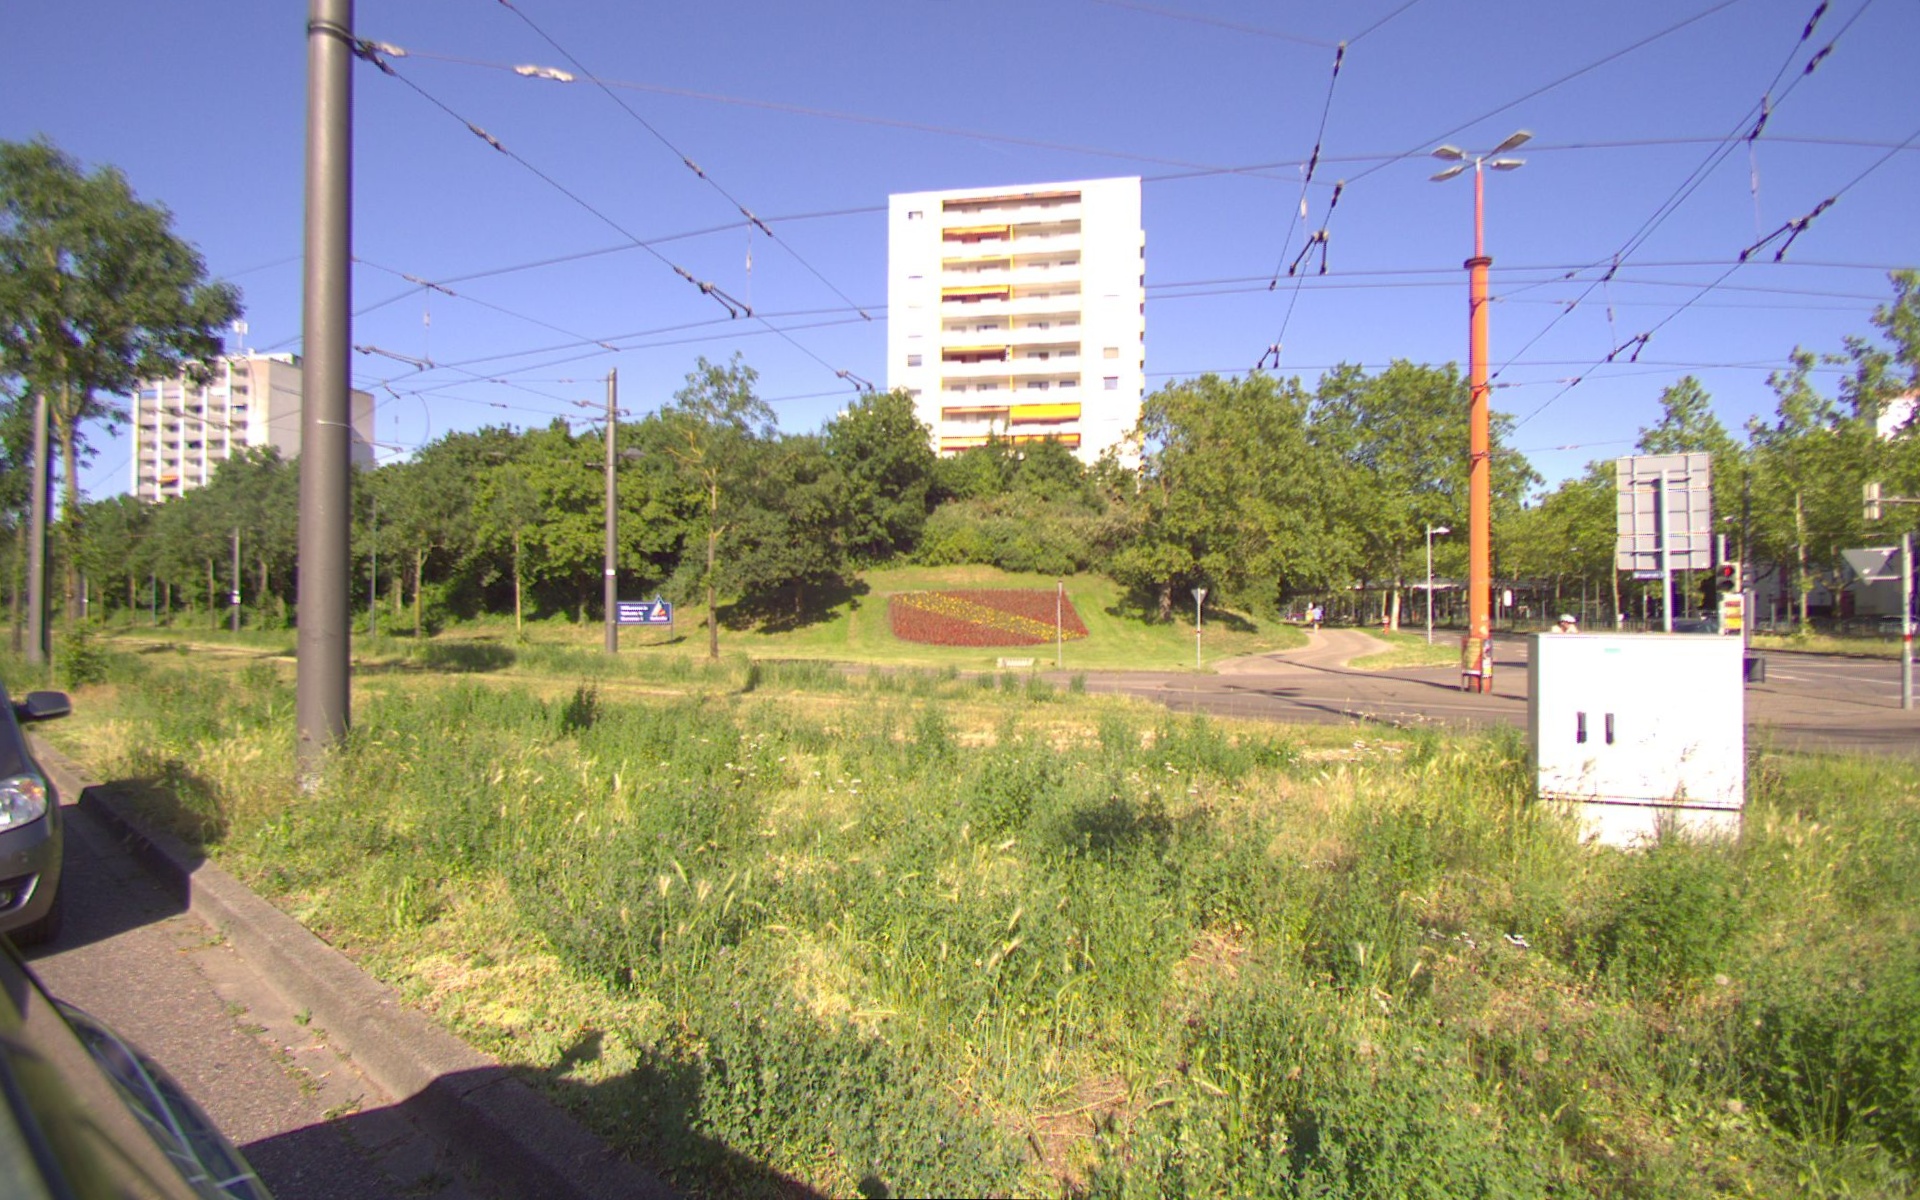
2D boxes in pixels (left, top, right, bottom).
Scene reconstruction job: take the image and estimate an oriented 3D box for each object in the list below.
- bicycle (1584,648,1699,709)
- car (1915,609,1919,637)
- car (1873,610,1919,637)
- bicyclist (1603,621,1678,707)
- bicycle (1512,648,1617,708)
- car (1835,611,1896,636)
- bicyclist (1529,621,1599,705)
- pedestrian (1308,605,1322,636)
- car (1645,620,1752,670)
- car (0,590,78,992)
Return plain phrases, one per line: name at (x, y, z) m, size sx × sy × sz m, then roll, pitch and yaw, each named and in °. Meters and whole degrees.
bicycle at (13.357, 1.518, 19.914) m, size 0.915 × 1.095 × 1.888 m, roll 0°, pitch -1°, yaw -2°
car at (64.406, 1.506, 65.900) m, size 3.931 × 1.829 × 2.006 m, roll 1°, pitch -2°, yaw -27°
car at (65.248, 1.643, 69.863) m, size 3.931 × 1.829 × 2.006 m, roll 1°, pitch -2°, yaw -27°
bicyclist at (13.353, 1.238, 19.880) m, size 0.920 × 1.650 × 0.741 m, roll 0°, pitch -1°, yaw -1°
bicycle at (12.091, 1.533, 20.316) m, size 0.915 × 1.095 × 1.888 m, roll 0°, pitch -1°, yaw -2°
car at (66.016, 1.700, 73.759) m, size 3.931 × 1.829 × 2.006 m, roll 1°, pitch -2°, yaw -27°
bicyclist at (12.096, 1.256, 20.299) m, size 0.920 × 1.650 × 0.741 m, roll 0°, pitch -1°, yaw -1°
pedestrian at (22.569, 1.319, 64.305) m, size 0.729 × 1.949 × 0.726 m, roll -1°, pitch -2°, yaw 24°
car at (25.491, 1.512, 35.092) m, size 1.928 × 1.606 × 3.882 m, roll -1°, pitch -1°, yaw 20°
car at (-5.941, 0.795, 5.040) m, size 4.382 × 1.619 × 1.754 m, roll -1°, pitch -2°, yaw 41°
